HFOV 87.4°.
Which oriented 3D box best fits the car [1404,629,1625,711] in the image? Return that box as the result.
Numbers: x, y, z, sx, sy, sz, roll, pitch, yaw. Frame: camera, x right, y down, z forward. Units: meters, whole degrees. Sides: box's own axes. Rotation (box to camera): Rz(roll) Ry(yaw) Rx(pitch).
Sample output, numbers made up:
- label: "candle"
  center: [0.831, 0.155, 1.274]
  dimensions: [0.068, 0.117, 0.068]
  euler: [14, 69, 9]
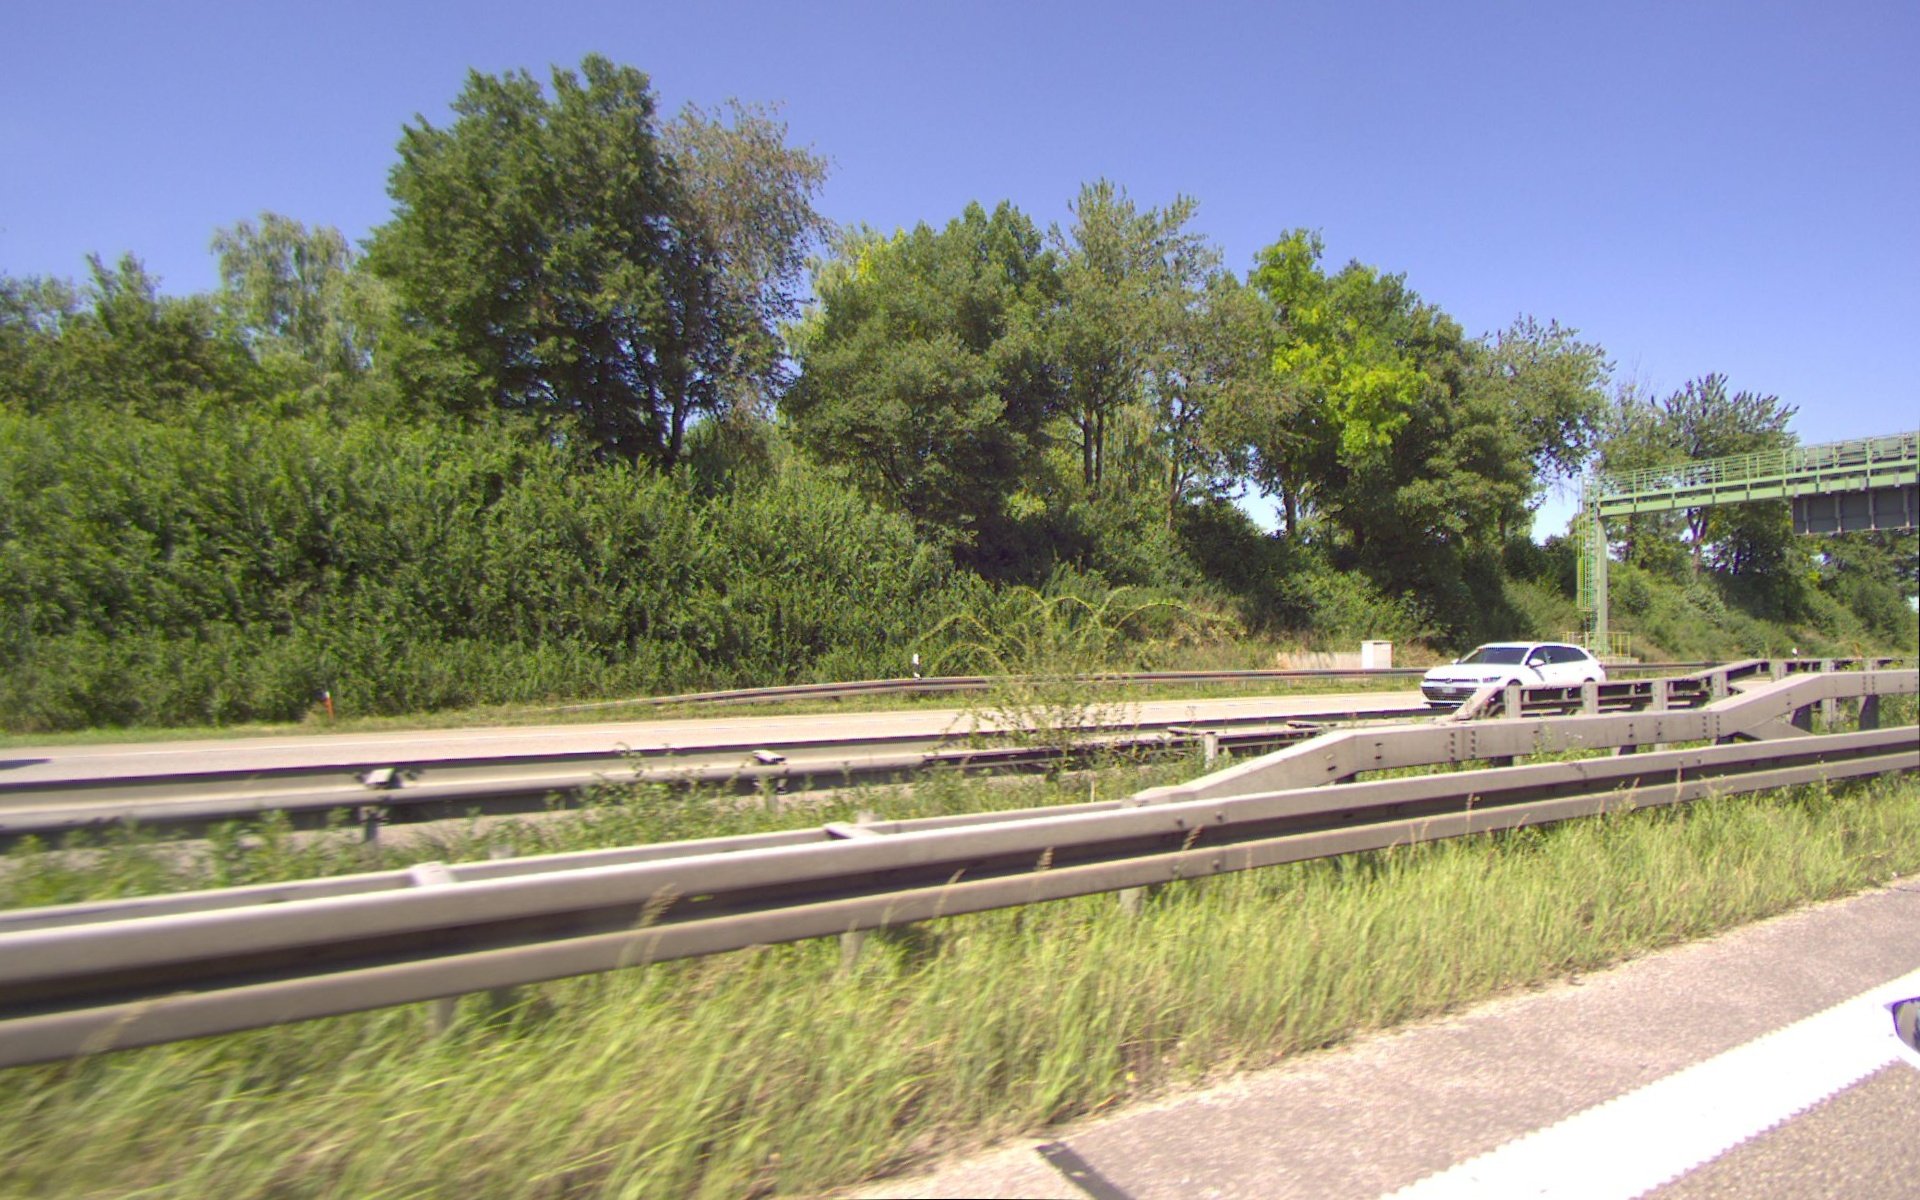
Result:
- label: "car"
  center: [12.327, 1.489, 22.232]
  dimensions: [5.247, 1.631, 1.870]
  euler: [1, -3, -30]
